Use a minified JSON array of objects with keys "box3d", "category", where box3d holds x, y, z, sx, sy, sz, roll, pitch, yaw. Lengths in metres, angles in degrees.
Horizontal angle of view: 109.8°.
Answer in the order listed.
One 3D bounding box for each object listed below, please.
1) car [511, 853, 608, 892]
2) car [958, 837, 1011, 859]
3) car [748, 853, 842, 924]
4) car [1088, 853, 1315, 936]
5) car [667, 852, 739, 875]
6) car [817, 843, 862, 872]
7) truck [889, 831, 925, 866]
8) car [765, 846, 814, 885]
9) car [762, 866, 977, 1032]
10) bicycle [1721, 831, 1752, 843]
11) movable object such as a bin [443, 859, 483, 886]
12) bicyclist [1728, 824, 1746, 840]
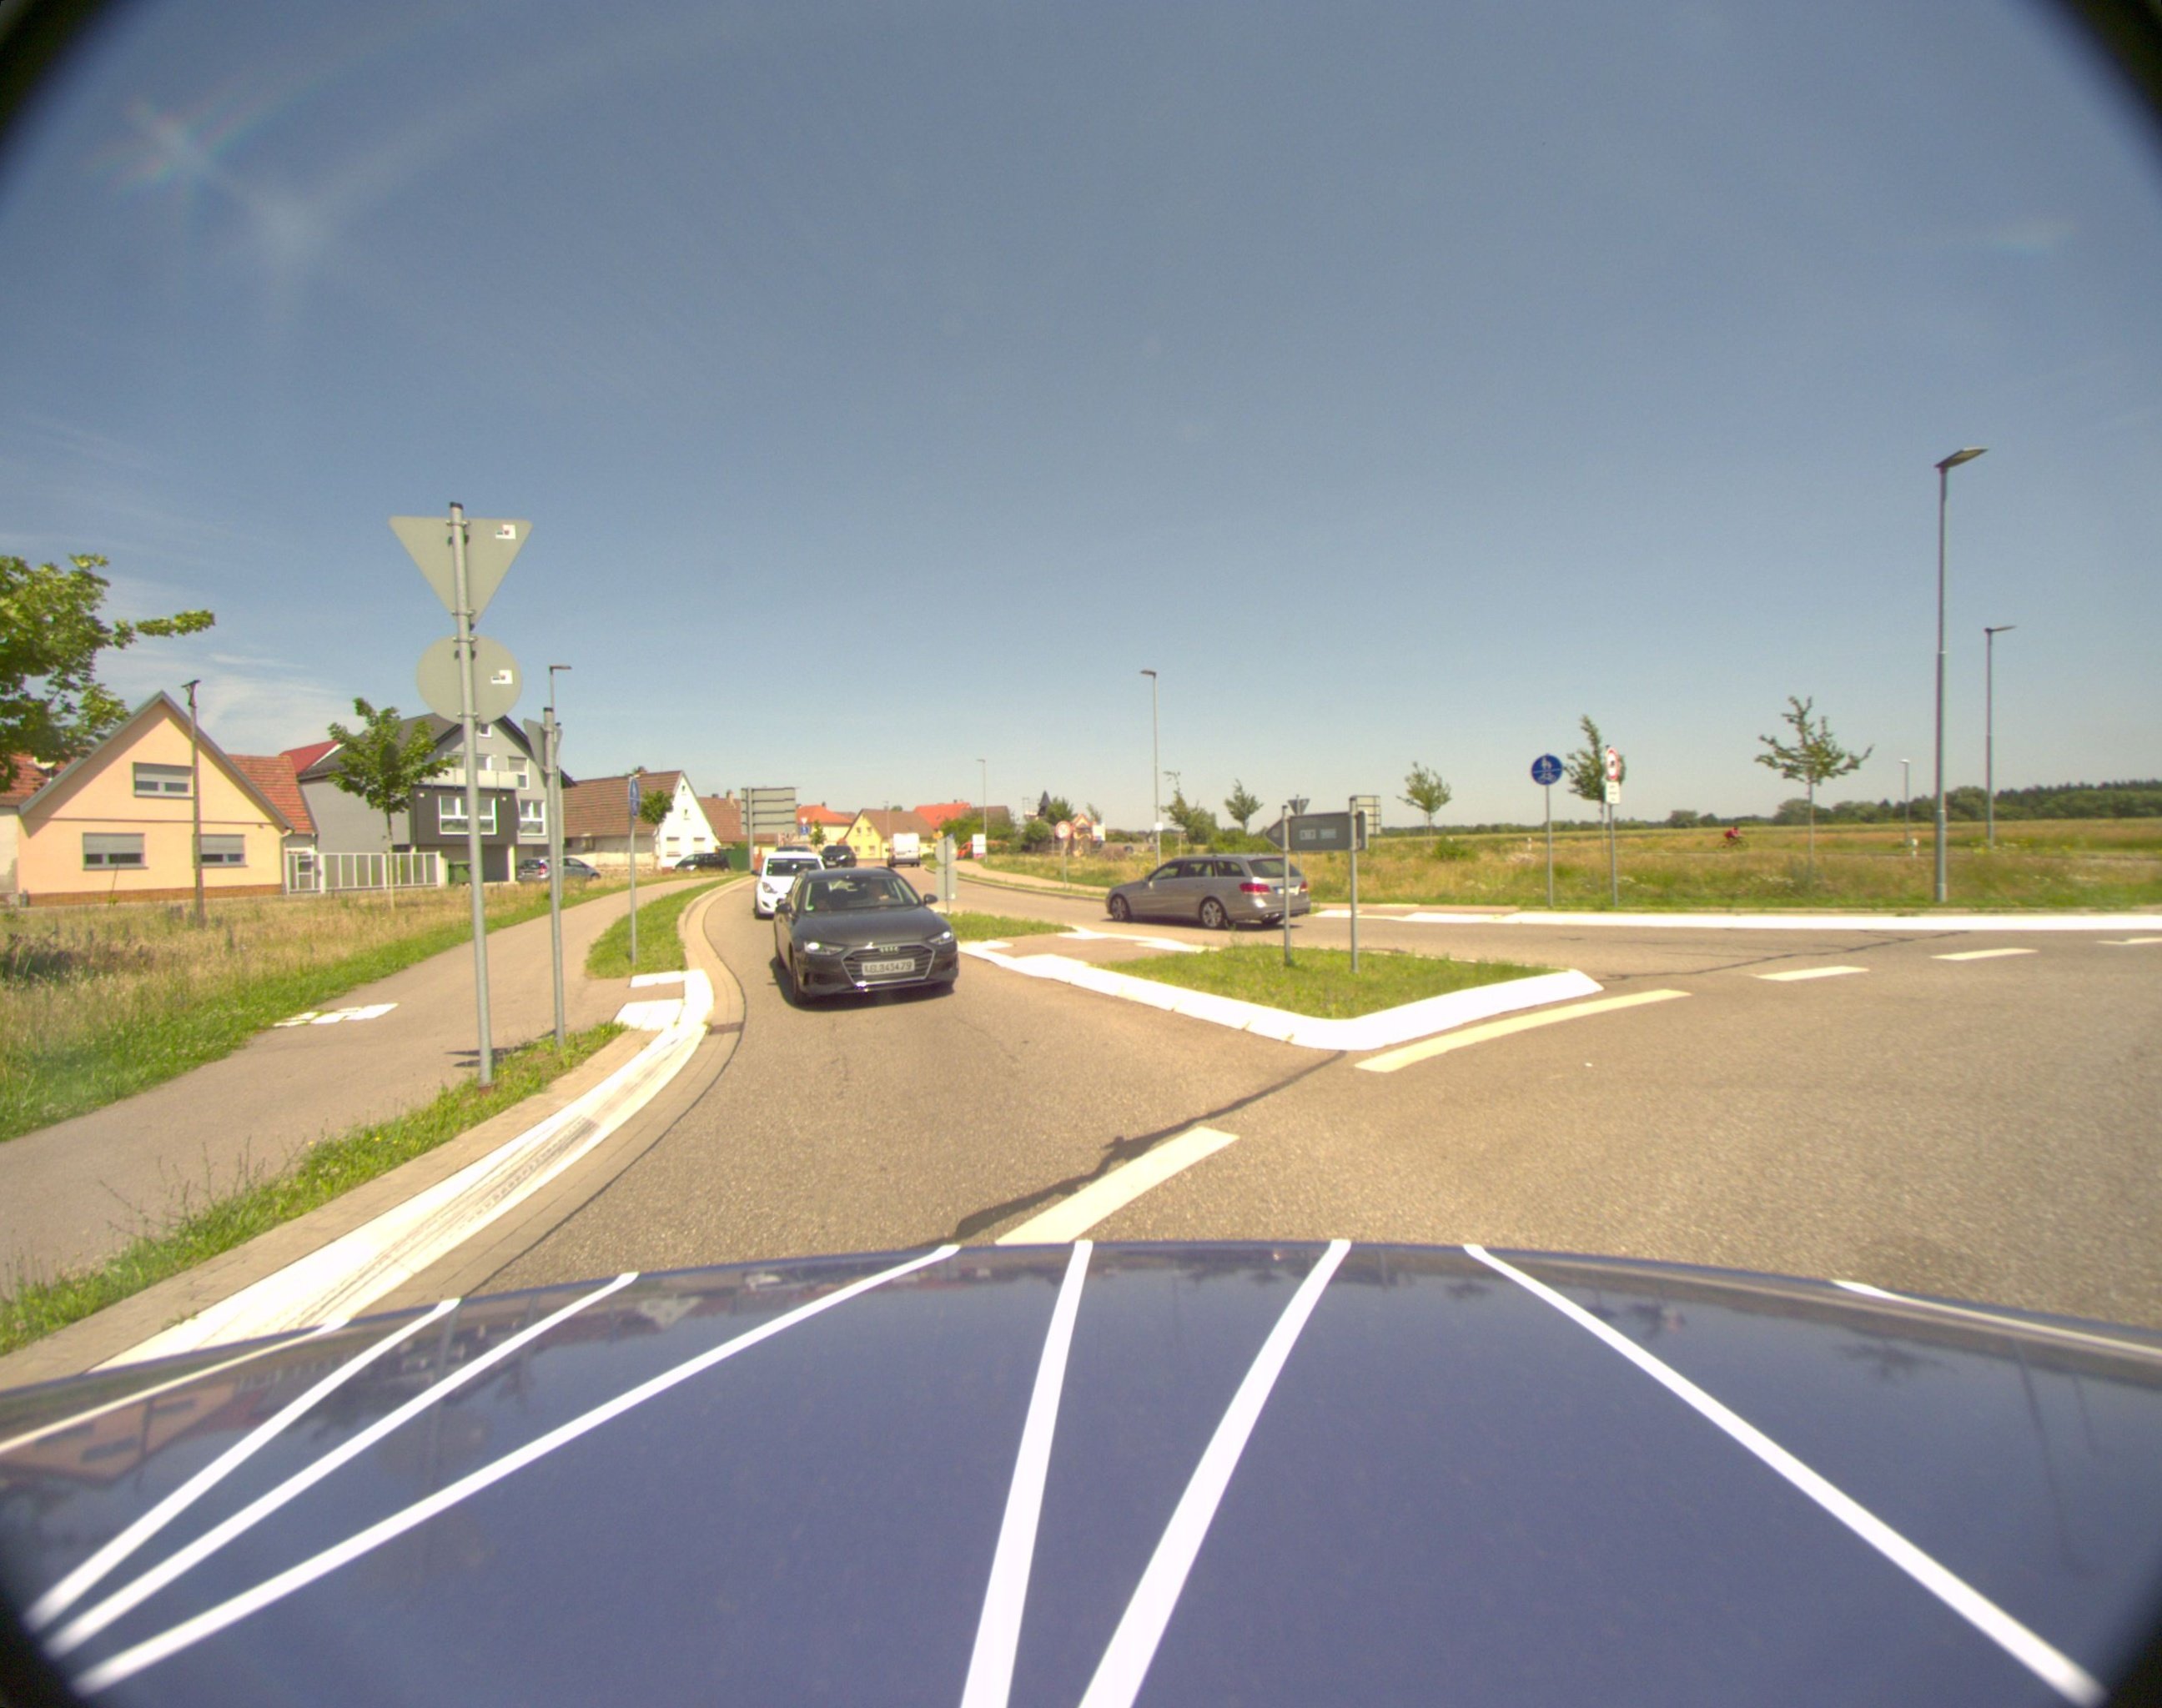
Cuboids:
[{"box3d":[-27.157,0.919,39.727,1.851,1.820,4.003,-1,1,11],"category":"car"},{"box3d":[-11.847,-0.771,93.337,6.121,2.569,2.360,-1,1,27],"category":"car"},{"box3d":[-7.608,0.786,19.922,1.871,1.553,4.511,-3,1,-25],"category":"car"},{"box3d":[2.385,0.782,16.338,1.841,1.482,4.854,-2,0,-38],"category":"car"},{"box3d":[-24.572,0.584,49.459,1.849,1.343,3.774,-1,1,28],"category":"car"},{"box3d":[-14.616,0.173,46.202,1.869,1.553,4.720,-2,1,-9],"category":"car"},{"box3d":[-13.526,-0.429,58.924,2.239,2.492,5.627,-2,1,-17],"category":"truck"},{"box3d":[-12.859,0.440,33.707,1.723,1.553,4.144,-3,1,-17],"category":"car"},{"box3d":[-2.981,0.973,9.882,1.871,1.426,4.511,-4,2,-25],"category":"car"},{"box3d":[43.589,-1.117,50.541,0.580,0.725,1.467,-2,1,-23],"category":"bicycle"},{"box3d":[-33.118,0.968,40.735,1.084,1.381,1.204,-1,1,14],"category":"movable object such as a bin"},{"box3d":[43.597,-1.462,50.501,0.580,1.073,0.723,-2,1,-23],"category":"bicyclist"}]
